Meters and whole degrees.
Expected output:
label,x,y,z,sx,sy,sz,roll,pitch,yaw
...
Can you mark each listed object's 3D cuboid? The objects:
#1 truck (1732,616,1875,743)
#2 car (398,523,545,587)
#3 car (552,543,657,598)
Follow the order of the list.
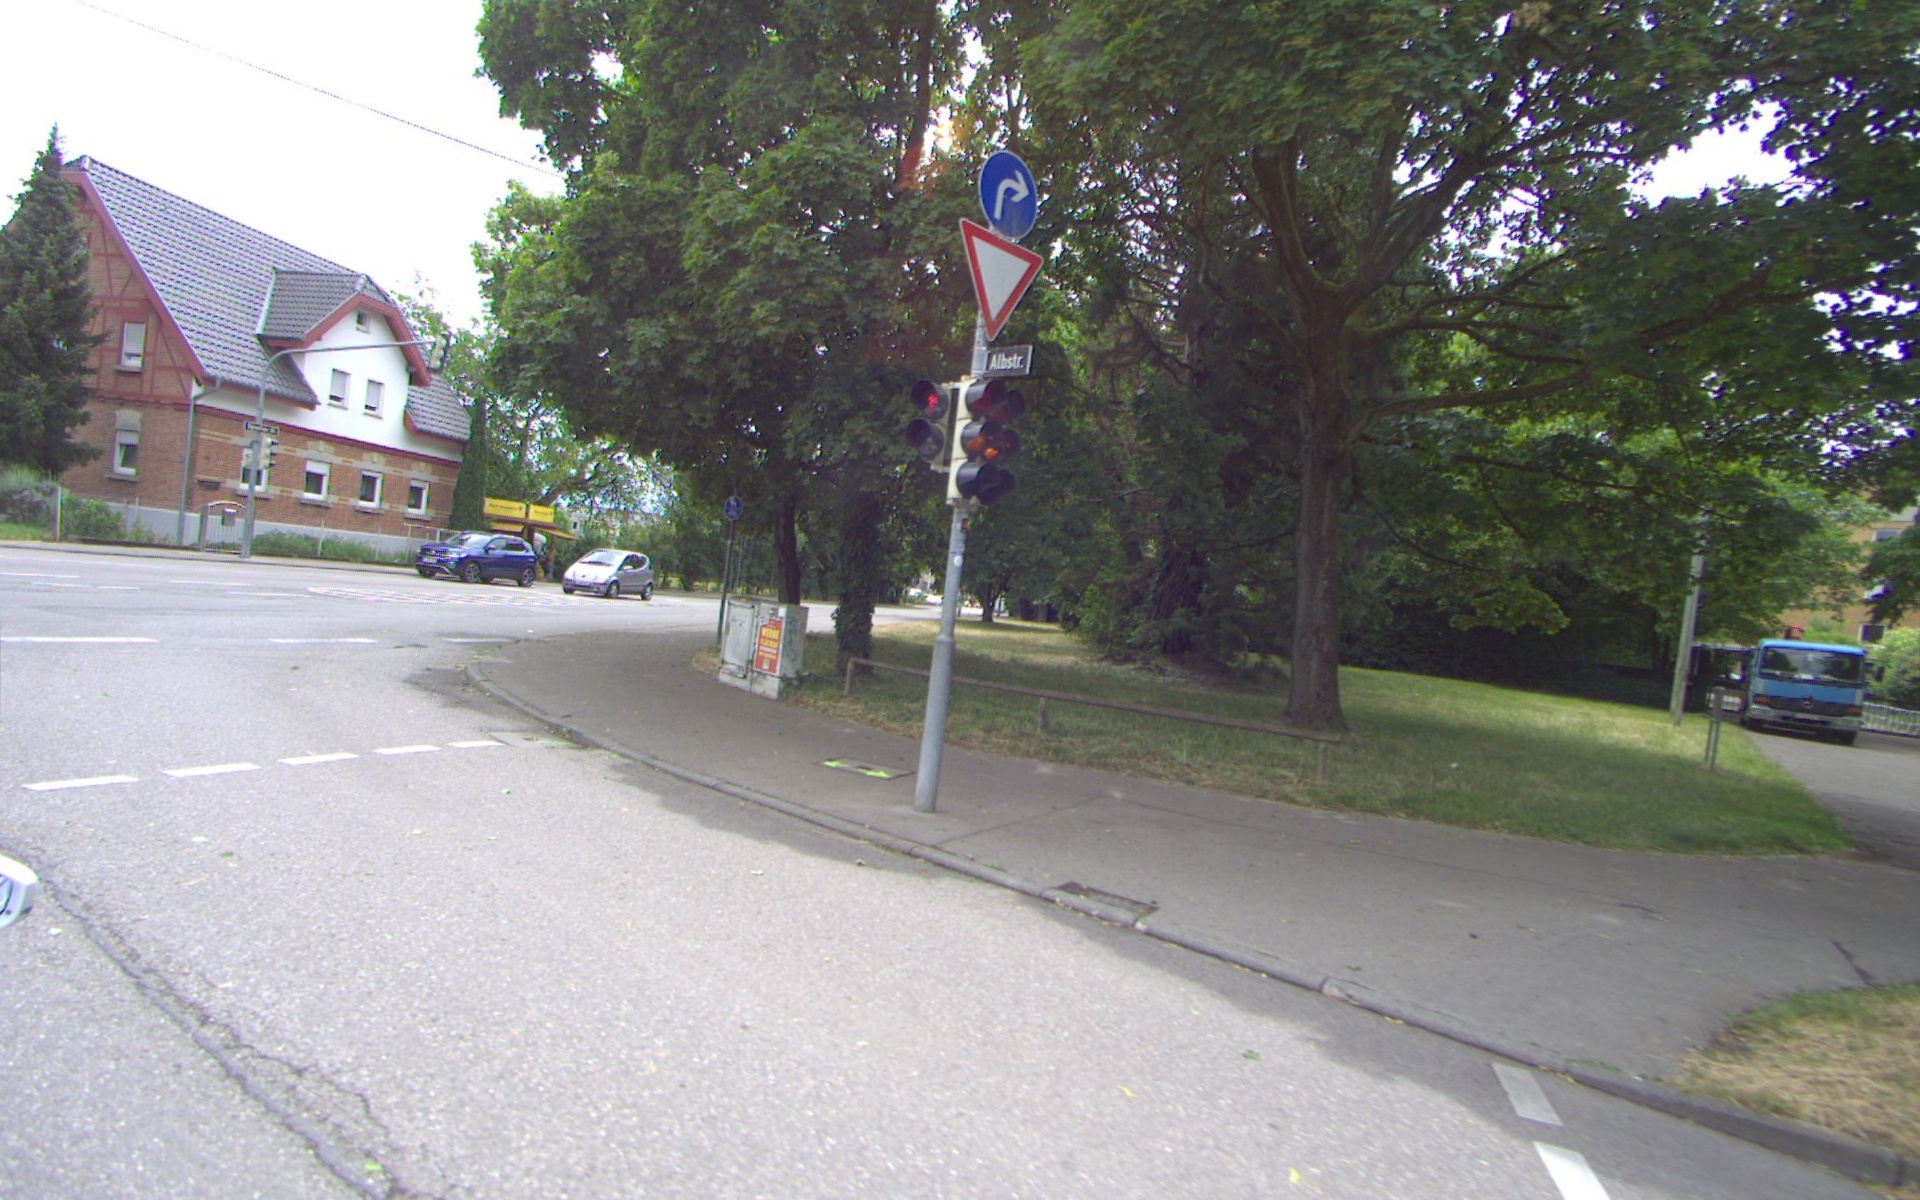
label,x,y,z,sx,sy,sz,roll,pitch,yaw
truck,23.535,2.235,28.379,2.445,2.883,7.404,8,1,37
car,-15.074,-1.347,31.287,1.891,1.538,4.000,7,1,14
car,-11.571,-0.925,33.002,1.747,1.538,3.558,5,1,7
